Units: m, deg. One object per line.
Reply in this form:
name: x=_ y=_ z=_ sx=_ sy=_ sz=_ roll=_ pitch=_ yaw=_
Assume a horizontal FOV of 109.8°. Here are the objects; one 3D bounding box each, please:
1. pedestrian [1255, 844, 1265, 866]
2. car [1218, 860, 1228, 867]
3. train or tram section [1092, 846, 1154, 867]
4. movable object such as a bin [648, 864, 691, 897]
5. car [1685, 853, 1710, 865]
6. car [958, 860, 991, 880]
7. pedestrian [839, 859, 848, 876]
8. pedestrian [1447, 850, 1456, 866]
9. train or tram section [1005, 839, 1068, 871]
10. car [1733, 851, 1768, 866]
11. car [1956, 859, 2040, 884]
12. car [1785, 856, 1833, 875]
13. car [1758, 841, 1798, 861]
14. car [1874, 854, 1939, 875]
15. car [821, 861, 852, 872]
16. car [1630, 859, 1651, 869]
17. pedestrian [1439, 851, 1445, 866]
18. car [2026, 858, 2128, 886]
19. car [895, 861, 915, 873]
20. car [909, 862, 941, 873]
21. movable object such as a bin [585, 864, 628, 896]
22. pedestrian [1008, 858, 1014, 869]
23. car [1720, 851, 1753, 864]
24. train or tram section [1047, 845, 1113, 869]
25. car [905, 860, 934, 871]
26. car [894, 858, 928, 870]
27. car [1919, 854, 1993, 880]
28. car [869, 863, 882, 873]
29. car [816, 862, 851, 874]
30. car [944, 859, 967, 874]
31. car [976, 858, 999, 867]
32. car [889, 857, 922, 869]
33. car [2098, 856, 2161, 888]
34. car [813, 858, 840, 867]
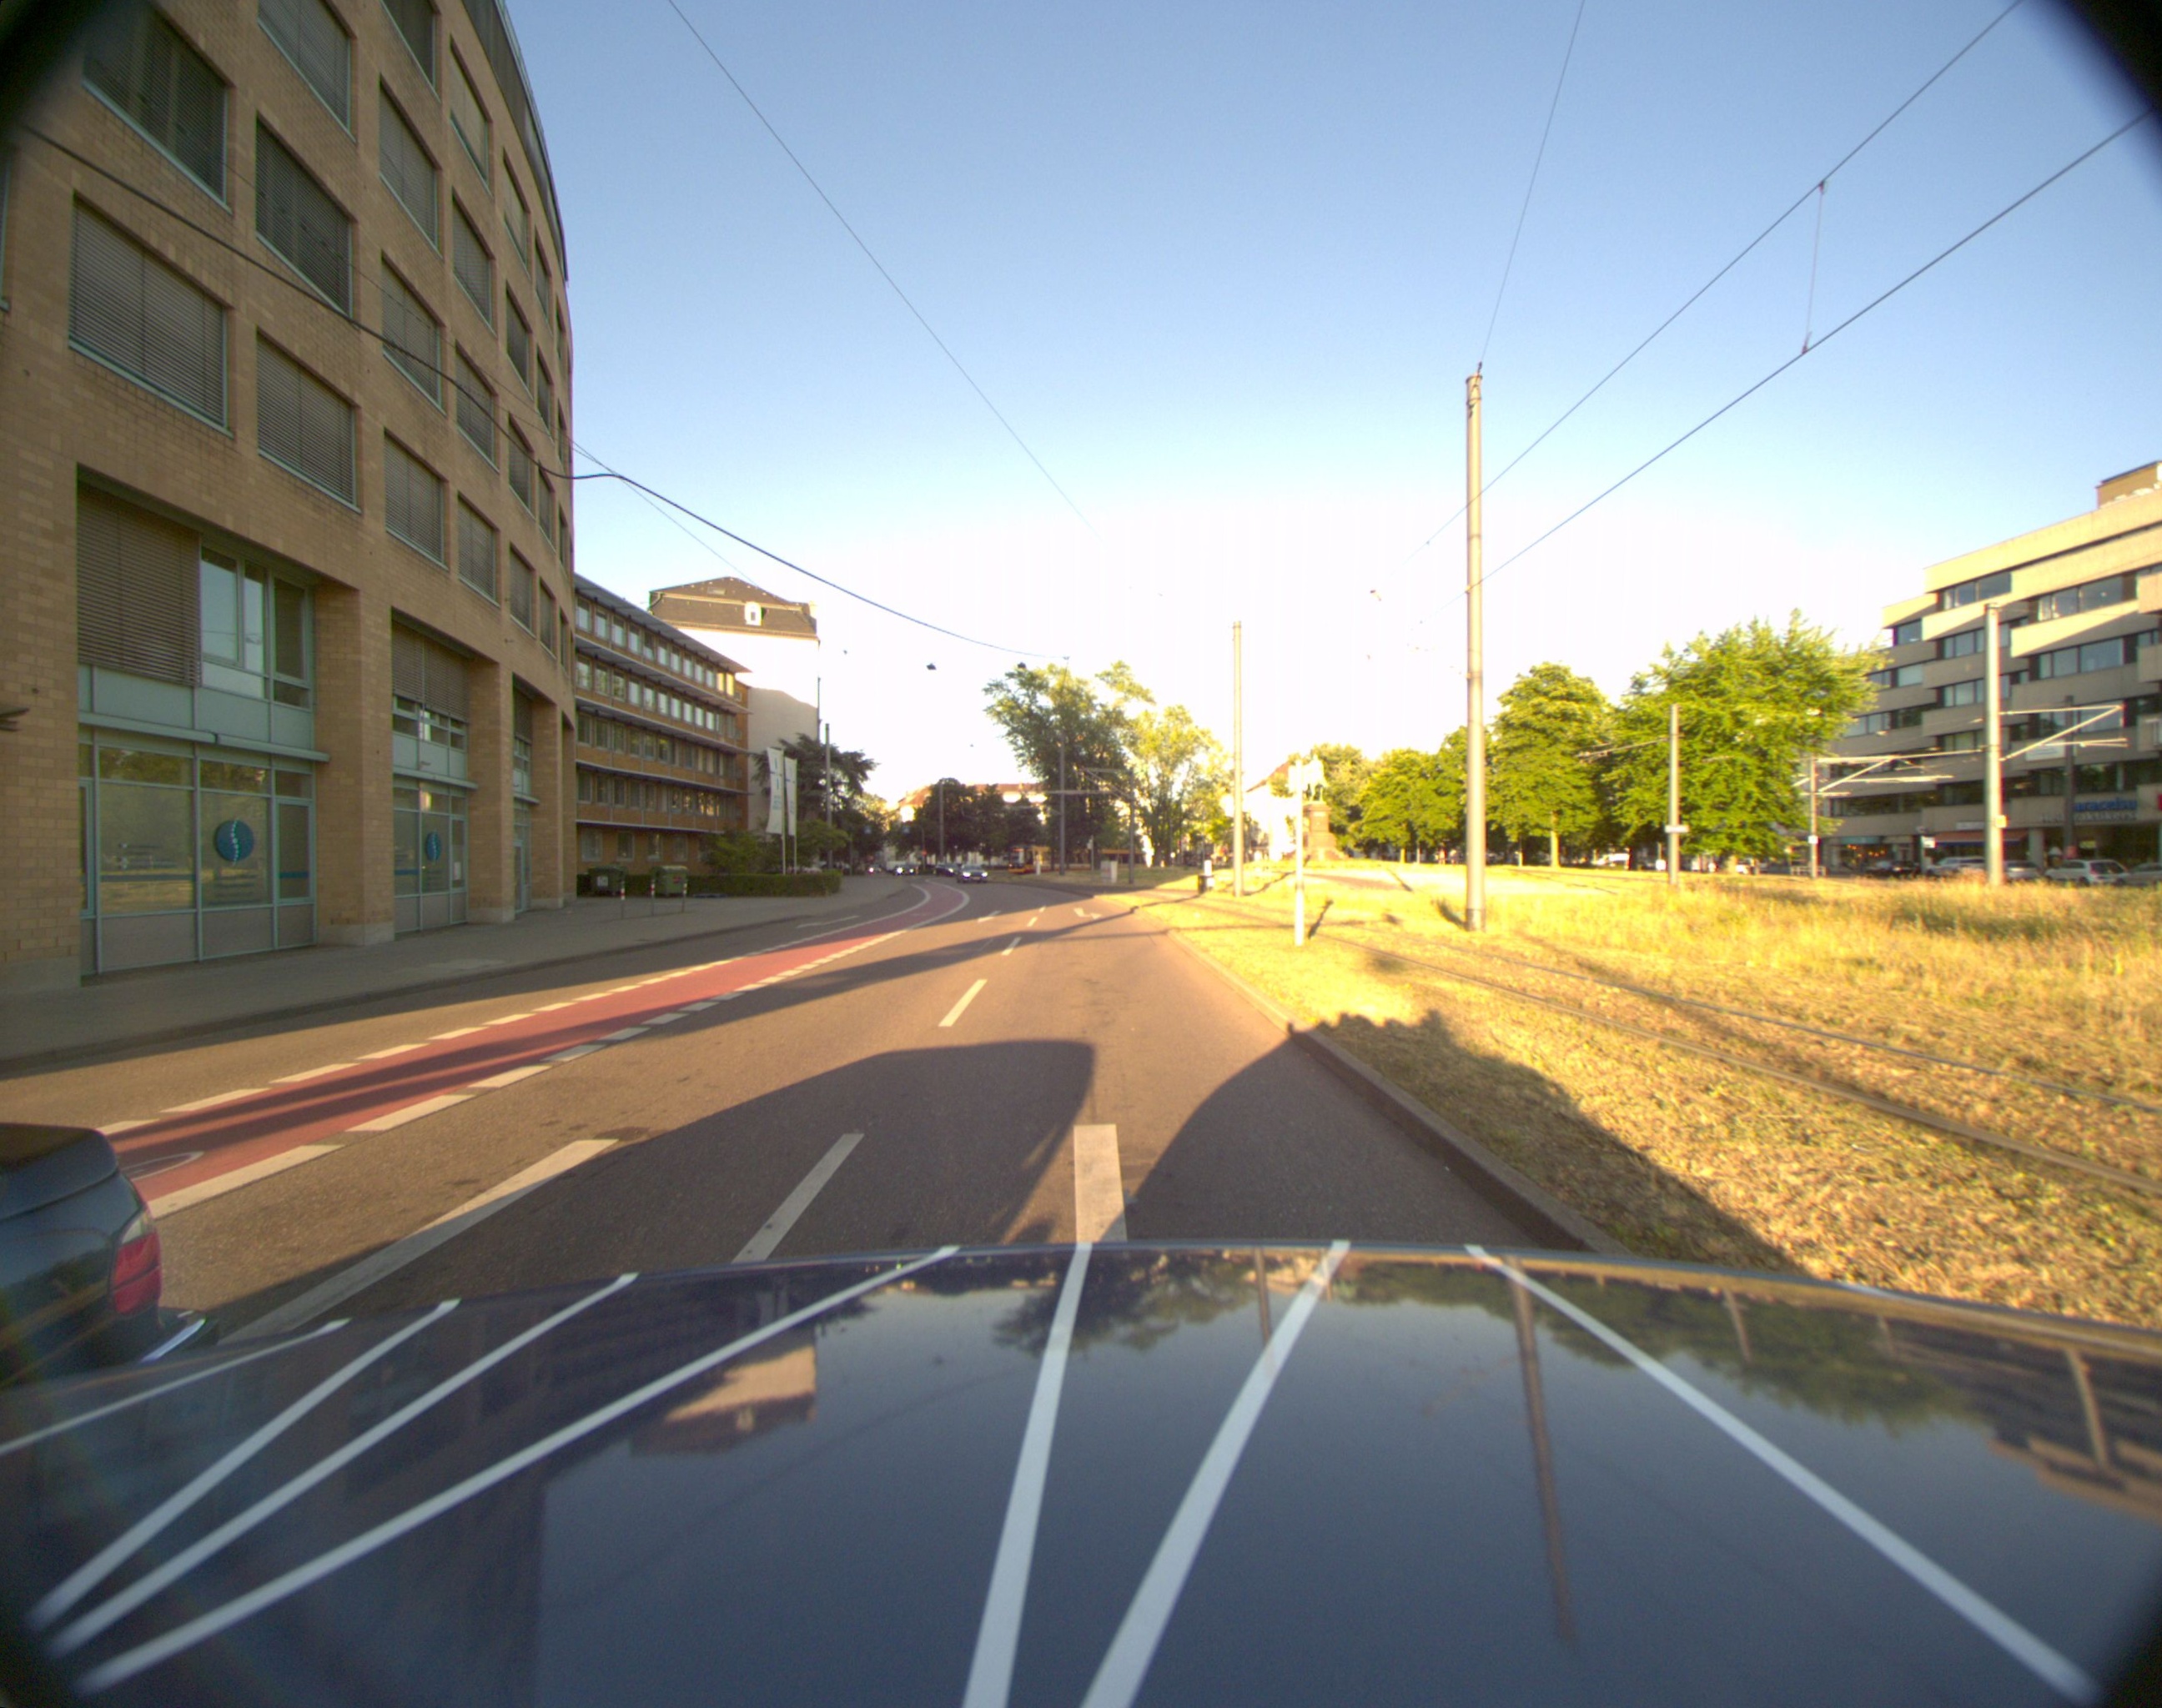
pedestrian: x=14.079 y=0.071 z=59.710 sx=0.476 sy=1.680 sz=0.835 roll=0 pitch=0 yaw=-14
car: x=32.758 y=2.120 z=175.554 sx=1.723 sy=1.542 sz=3.968 roll=0 pitch=-1 yaw=1
train or tram section: x=6.567 y=0.323 z=114.859 sx=2.918 sy=3.123 sz=12.671 roll=-1 pitch=0 yaw=36
movable object such as a bin: x=-18.222 y=1.177 z=33.677 sx=0.972 sy=1.429 sz=1.347 roll=-1 pitch=-1 yaw=19
car: x=83.685 y=0.718 z=103.189 sx=1.793 sy=1.570 sz=4.008 roll=-1 pitch=-1 yaw=27
car: x=-8.209 y=1.257 z=58.082 sx=1.822 sy=1.473 sz=4.130 roll=0 pitch=-1 yaw=-18
pedestrian: x=-24.541 y=1.372 z=78.572 sx=0.591 sy=1.781 sz=0.822 roll=0 pitch=-1 yaw=11
pedestrian: x=38.133 y=0.401 z=78.250 sx=0.619 sy=1.571 sz=0.553 roll=0 pitch=-1 yaw=2
train or tram section: x=-5.204 y=0.075 z=93.354 sx=2.944 sy=3.563 sz=13.384 roll=-1 pitch=0 yaw=18
car: x=76.333 y=0.550 z=86.704 sx=1.755 sy=1.653 sz=4.007 roll=-1 pitch=-1 yaw=23
car: x=58.560 y=1.138 z=48.602 sx=1.755 sy=1.542 sz=4.007 roll=-1 pitch=-1 yaw=23
car: x=70.208 y=1.087 z=73.327 sx=1.935 sy=1.784 sz=4.217 roll=-1 pitch=-1 yaw=23
car: x=72.870 y=-0.296 z=79.476 sx=1.755 sy=1.932 sz=4.217 roll=-1 pitch=-1 yaw=23
car: x=64.074 y=0.832 z=59.060 sx=1.861 sy=1.547 sz=4.076 roll=-1 pitch=-1 yaw=23
car: x=-33.880 y=1.741 z=105.148 sx=4.072 sy=1.560 sz=1.835 roll=0 pitch=-1 yaw=-19
car: x=89.413 y=1.552 z=121.474 sx=1.861 sy=1.547 sz=4.076 roll=-1 pitch=-1 yaw=23
pedestrian: x=37.344 y=0.447 z=78.598 sx=0.453 sy=1.503 sz=0.553 roll=0 pitch=-1 yaw=2
car: x=56.335 y=1.016 z=43.080 sx=1.755 sy=1.542 sz=4.007 roll=-1 pitch=-1 yaw=23
car: x=-21.219 y=1.567 z=91.483 sx=1.823 sy=1.473 sz=4.129 roll=0 pitch=-1 yaw=-19
car: x=-21.221 y=1.853 z=103.658 sx=4.067 sy=1.547 sz=1.865 roll=0 pitch=-1 yaw=-6
movable object such as a bin: x=-21.237 y=1.175 z=34.024 sx=1.345 sy=1.415 sz=0.923 roll=0 pitch=-1 yaw=-7
pedestrian: x=-11.085 y=1.489 z=120.364 sx=0.767 sy=1.705 sz=0.787 roll=-1 pitch=-1 yaw=30
car: x=70.940 y=0.402 z=82.284 sx=1.707 sy=1.382 sz=4.008 roll=-1 pitch=-1 yaw=24
train or tram section: x=0.054 y=0.386 z=104.901 sx=2.924 sy=3.123 sz=12.881 roll=-1 pitch=0 yaw=30
car: x=-24.184 y=1.781 z=113.778 sx=4.067 sy=1.608 sz=1.999 roll=0 pitch=-1 yaw=-6
car: x=-28.054 y=1.719 z=125.724 sx=5.078 sy=1.891 sz=2.122 roll=0 pitch=-1 yaw=2
car: x=61.349 y=0.917 z=53.366 sx=1.755 sy=1.784 sz=4.217 roll=-1 pitch=-1 yaw=23
car: x=-31.503 y=2.111 z=116.797 sx=1.822 sy=1.473 sz=4.131 roll=-1 pitch=-1 yaw=-14
car: x=-32.665 y=1.802 z=100.307 sx=4.403 sy=1.548 sz=1.835 roll=0 pitch=-1 yaw=-20
car: x=-12.824 y=1.326 z=77.592 sx=1.822 sy=1.473 sz=4.130 roll=0 pitch=-1 yaw=-16
car: x=-17.075 y=1.559 z=138.576 sx=4.011 sy=1.714 sz=1.701 roll=0 pitch=-1 yaw=-1
car: x=-29.812 y=1.569 z=129.045 sx=5.078 sy=2.010 sz=1.968 roll=0 pitch=-1 yaw=2
car: x=54.254 y=0.912 z=38.390 sx=1.755 sy=1.542 sz=4.008 roll=-1 pitch=-1 yaw=26
car: x=-45.417 y=1.562 z=135.676 sx=4.404 sy=1.603 sz=1.726 roll=0 pitch=-1 yaw=-23
